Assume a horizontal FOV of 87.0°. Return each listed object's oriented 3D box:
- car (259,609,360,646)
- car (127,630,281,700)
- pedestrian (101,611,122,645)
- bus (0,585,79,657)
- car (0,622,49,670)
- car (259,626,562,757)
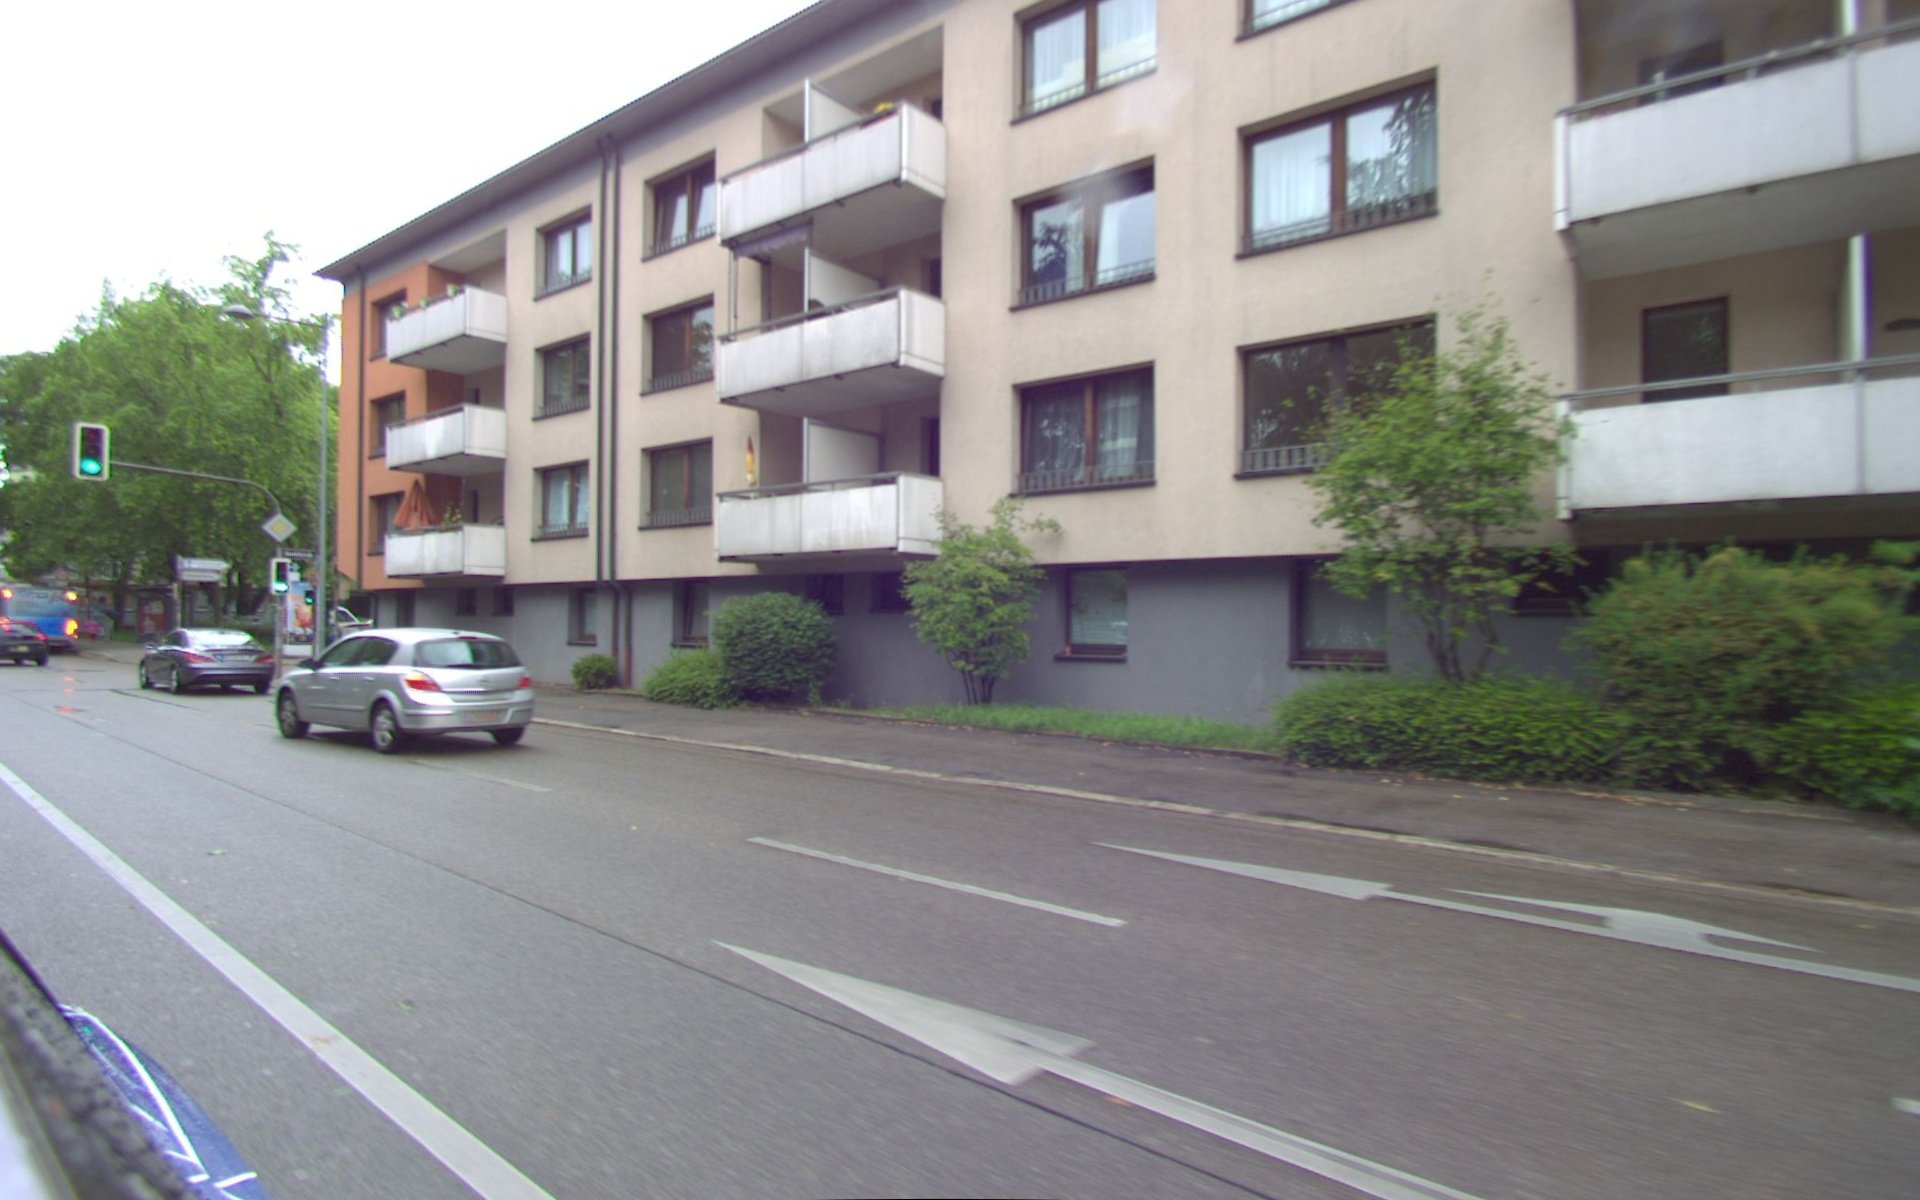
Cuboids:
[{"bbox_3d":[-35.285,1.507,55.001,1.701,1.937,4.280,-1,-3,38],"label":"car"},{"bbox_3d":[-17.219,1.430,22.977,4.679,1.426,1.794,-2,-3,41],"label":"car"},{"bbox_3d":[-44.950,1.466,53.628,0.687,1.782,0.702,-1,1,41],"label":"pedestrian"},{"bbox_3d":[-43.190,0.924,46.325,12.079,2.962,2.665,0,-2,41],"label":"bus"},{"bbox_3d":[-31.558,1.510,33.432,3.888,1.503,1.669,-2,-4,41],"label":"car"},{"bbox_3d":[-7.074,1.069,12.917,4.039,1.426,1.797,-1,-3,35],"label":"car"}]
